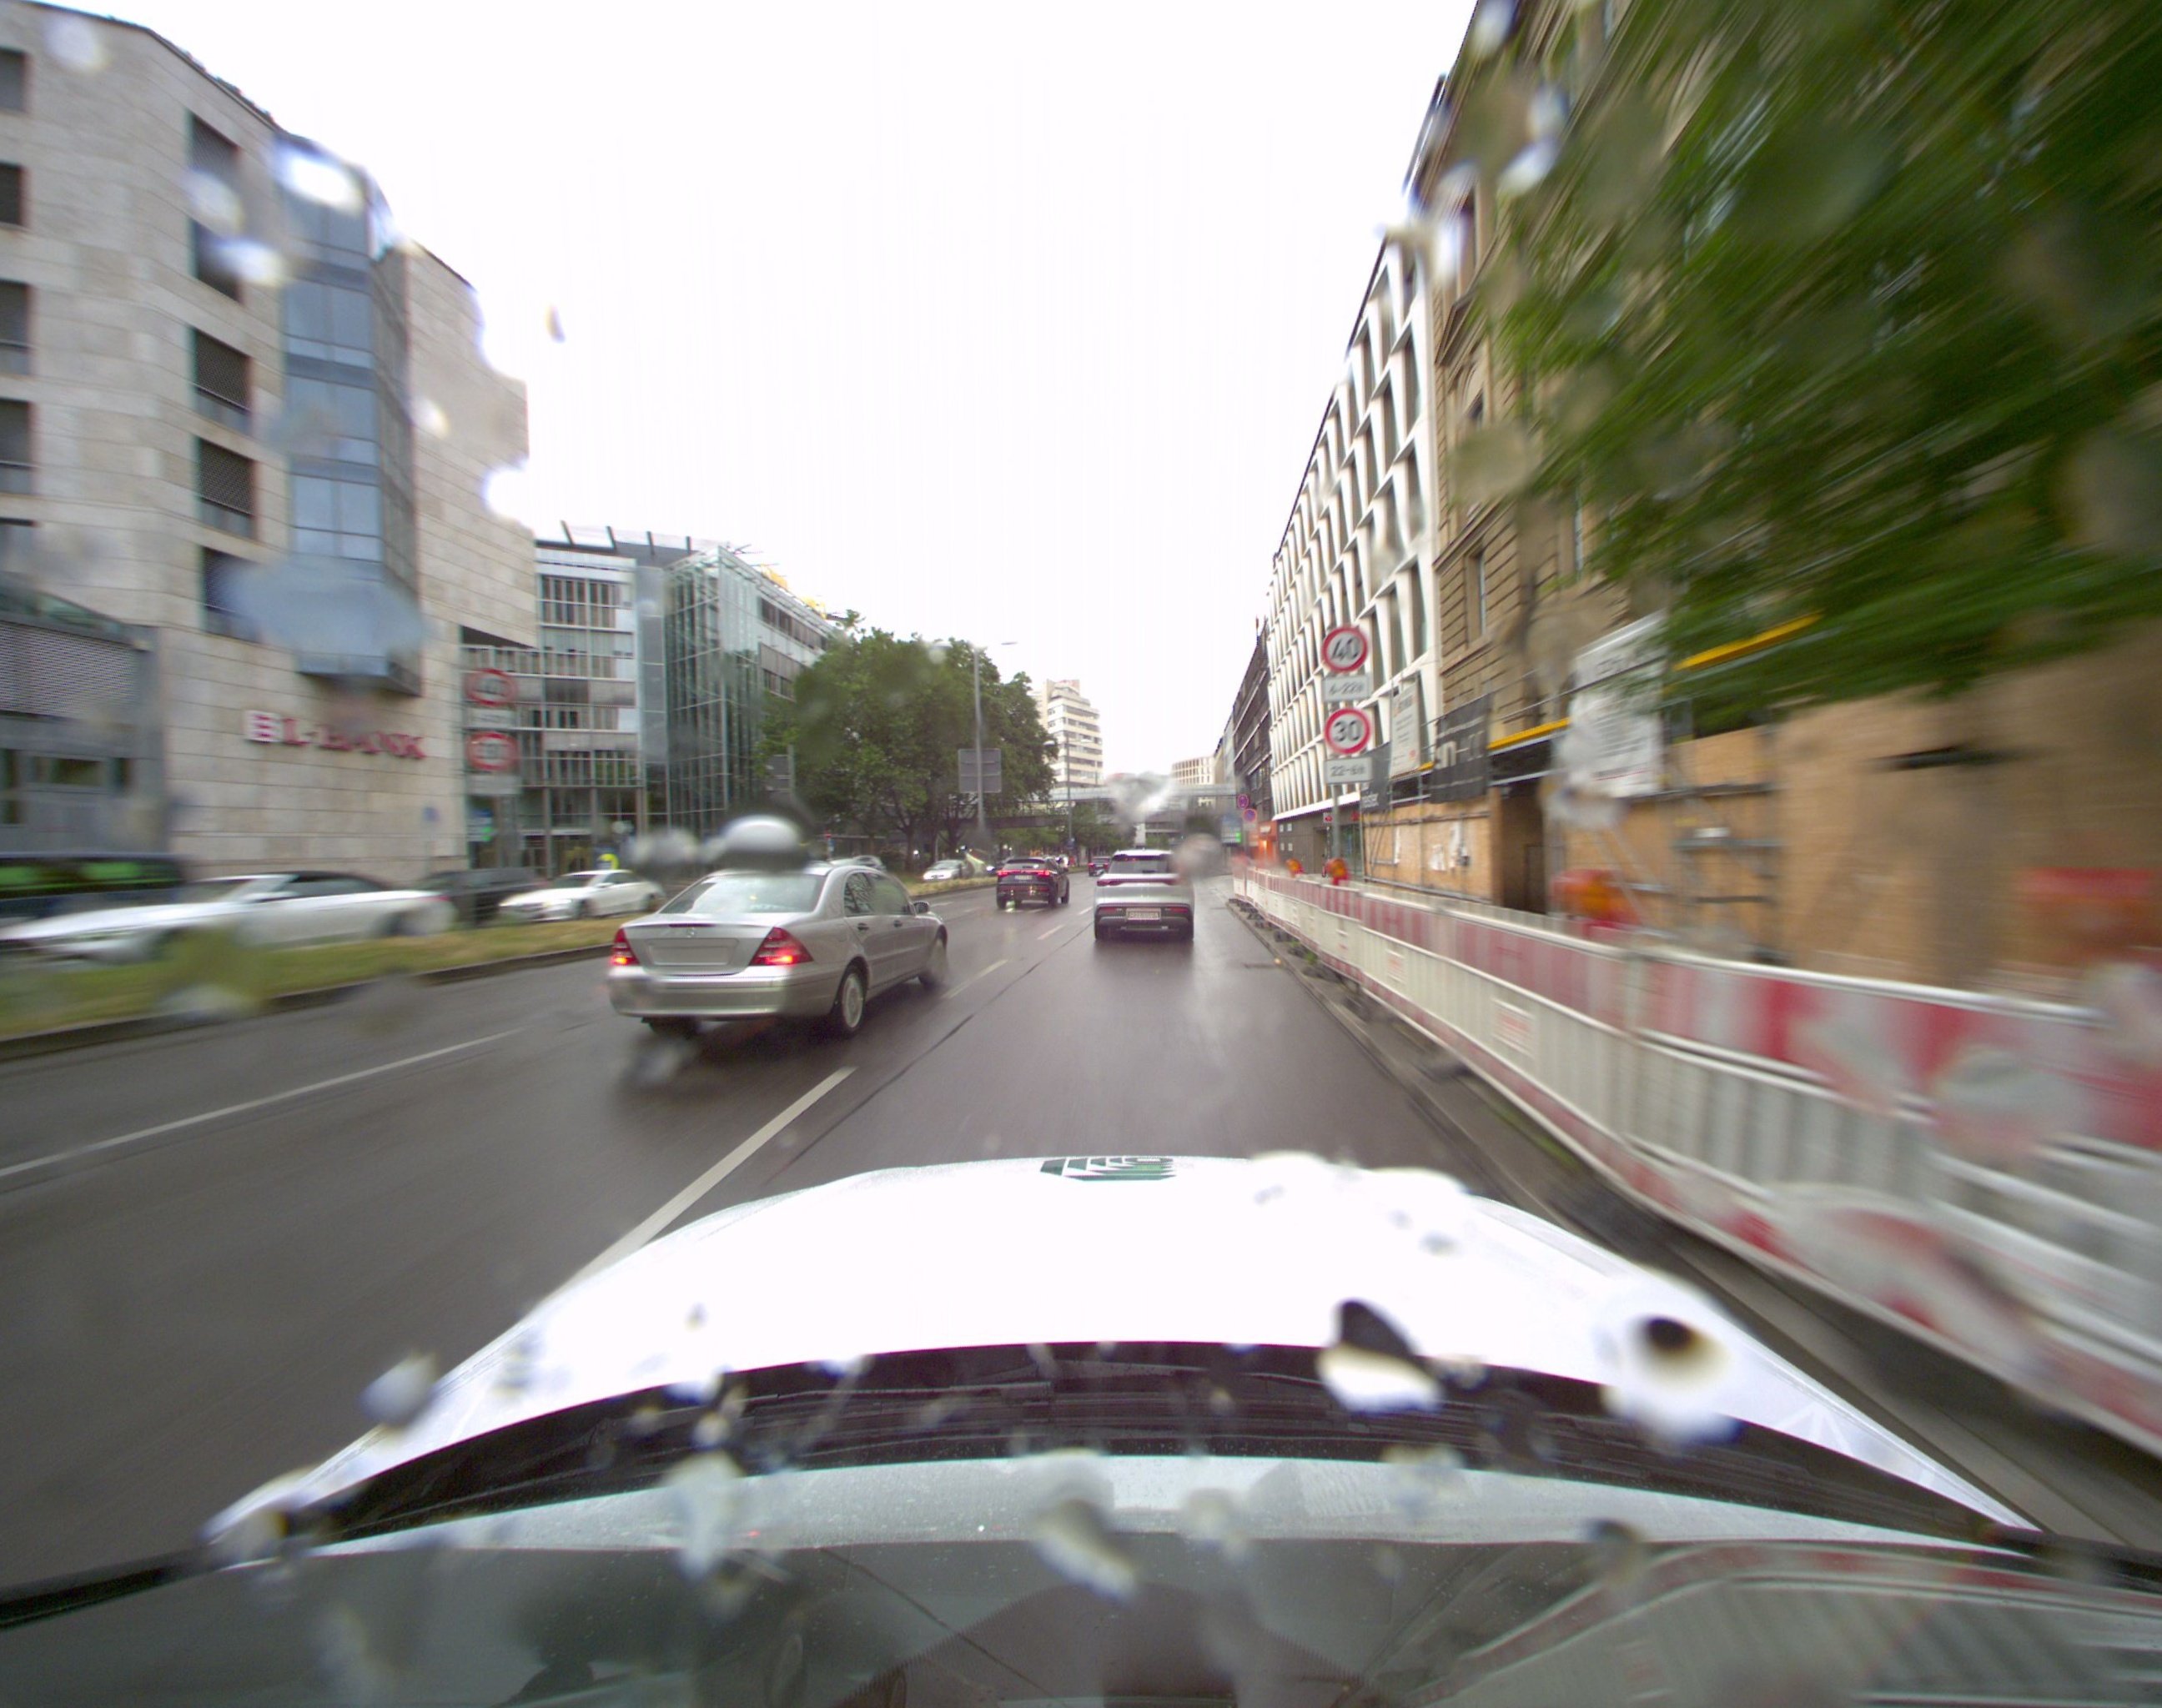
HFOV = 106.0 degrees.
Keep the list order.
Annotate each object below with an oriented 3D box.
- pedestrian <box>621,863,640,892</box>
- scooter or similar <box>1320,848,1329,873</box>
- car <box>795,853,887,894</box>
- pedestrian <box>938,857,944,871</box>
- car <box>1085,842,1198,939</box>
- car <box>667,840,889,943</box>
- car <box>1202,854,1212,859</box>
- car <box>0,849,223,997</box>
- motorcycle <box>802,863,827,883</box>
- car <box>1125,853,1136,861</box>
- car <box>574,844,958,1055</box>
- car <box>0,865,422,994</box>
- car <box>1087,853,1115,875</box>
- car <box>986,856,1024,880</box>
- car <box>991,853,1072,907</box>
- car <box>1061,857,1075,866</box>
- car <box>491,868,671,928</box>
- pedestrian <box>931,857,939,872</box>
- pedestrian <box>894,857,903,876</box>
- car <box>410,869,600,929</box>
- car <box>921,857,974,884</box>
[{"bbox_3d":[-24.645,1.284,44.577,0.668,1.570,0.817,-1,1,-15],"label":"pedestrian"},{"bbox_3d":[12.345,0.339,41.289,0.408,1.236,1.194,-1,0,15],"label":"scooter or similar"},{"bbox_3d":[-9.206,0.714,31.679,1.691,1.437,4.591,-2,-1,7],"label":"car"},{"bbox_3d":[-16.742,1.224,97.454,0.556,1.686,0.512,-1,0,6],"label":"pedestrian"},{"bbox_3d":[1.257,0.631,15.938,1.891,1.621,4.007,-1,0,7],"label":"car"},{"bbox_3d":[-5.418,0.693,15.400,1.863,1.479,4.885,-5,-3,6],"label":"car"},{"bbox_3d":[40.023,0.905,258.361,1.565,1.538,4.026,-1,0,37],"label":"car"},{"bbox_3d":[-15.546,0.960,11.101,1.819,2.002,5.118,-2,-1,10],"label":"car"},{"bbox_3d":[-13.766,0.968,42.080,0.690,0.970,1.400,-1,0,8],"label":"motorcycle"},{"bbox_3d":[9.155,0.536,149.869,1.644,1.342,4.010,-1,0,8],"label":"car"},{"bbox_3d":[-2.580,0.726,7.950,1.664,1.479,4.367,-1,-1,6],"label":"car"},{"bbox_3d":[-12.259,0.915,11.568,1.849,1.442,4.325,-2,-1,10],"label":"car"},{"bbox_3d":[1.522,0.761,61.820,1.803,1.578,4.006,-1,0,5],"label":"car"},{"bbox_3d":[-5.708,1.057,61.456,1.864,1.680,4.689,-2,-1,7],"label":"car"},{"bbox_3d":[-1.412,0.739,24.612,1.765,1.457,4.006,-2,-1,6],"label":"car"},{"bbox_3d":[-2.139,1.232,136.825,1.587,1.360,4.126,-2,-1,9],"label":"car"},{"bbox_3d":[-13.567,1.134,22.464,1.716,1.432,4.408,-2,-1,10],"label":"car"},{"bbox_3d":[-17.461,1.257,97.488,0.719,1.807,0.619,-1,0,6],"label":"pedestrian"},{"bbox_3d":[-17.985,1.247,80.382,0.593,1.807,0.761,-1,0,7],"label":"pedestrian"},{"bbox_3d":[-16.663,1.238,23.906,1.716,1.532,4.653,-2,-1,10],"label":"car"},{"bbox_3d":[-7.216,0.881,44.384,1.587,1.360,4.126,-2,-1,9],"label":"car"}]
